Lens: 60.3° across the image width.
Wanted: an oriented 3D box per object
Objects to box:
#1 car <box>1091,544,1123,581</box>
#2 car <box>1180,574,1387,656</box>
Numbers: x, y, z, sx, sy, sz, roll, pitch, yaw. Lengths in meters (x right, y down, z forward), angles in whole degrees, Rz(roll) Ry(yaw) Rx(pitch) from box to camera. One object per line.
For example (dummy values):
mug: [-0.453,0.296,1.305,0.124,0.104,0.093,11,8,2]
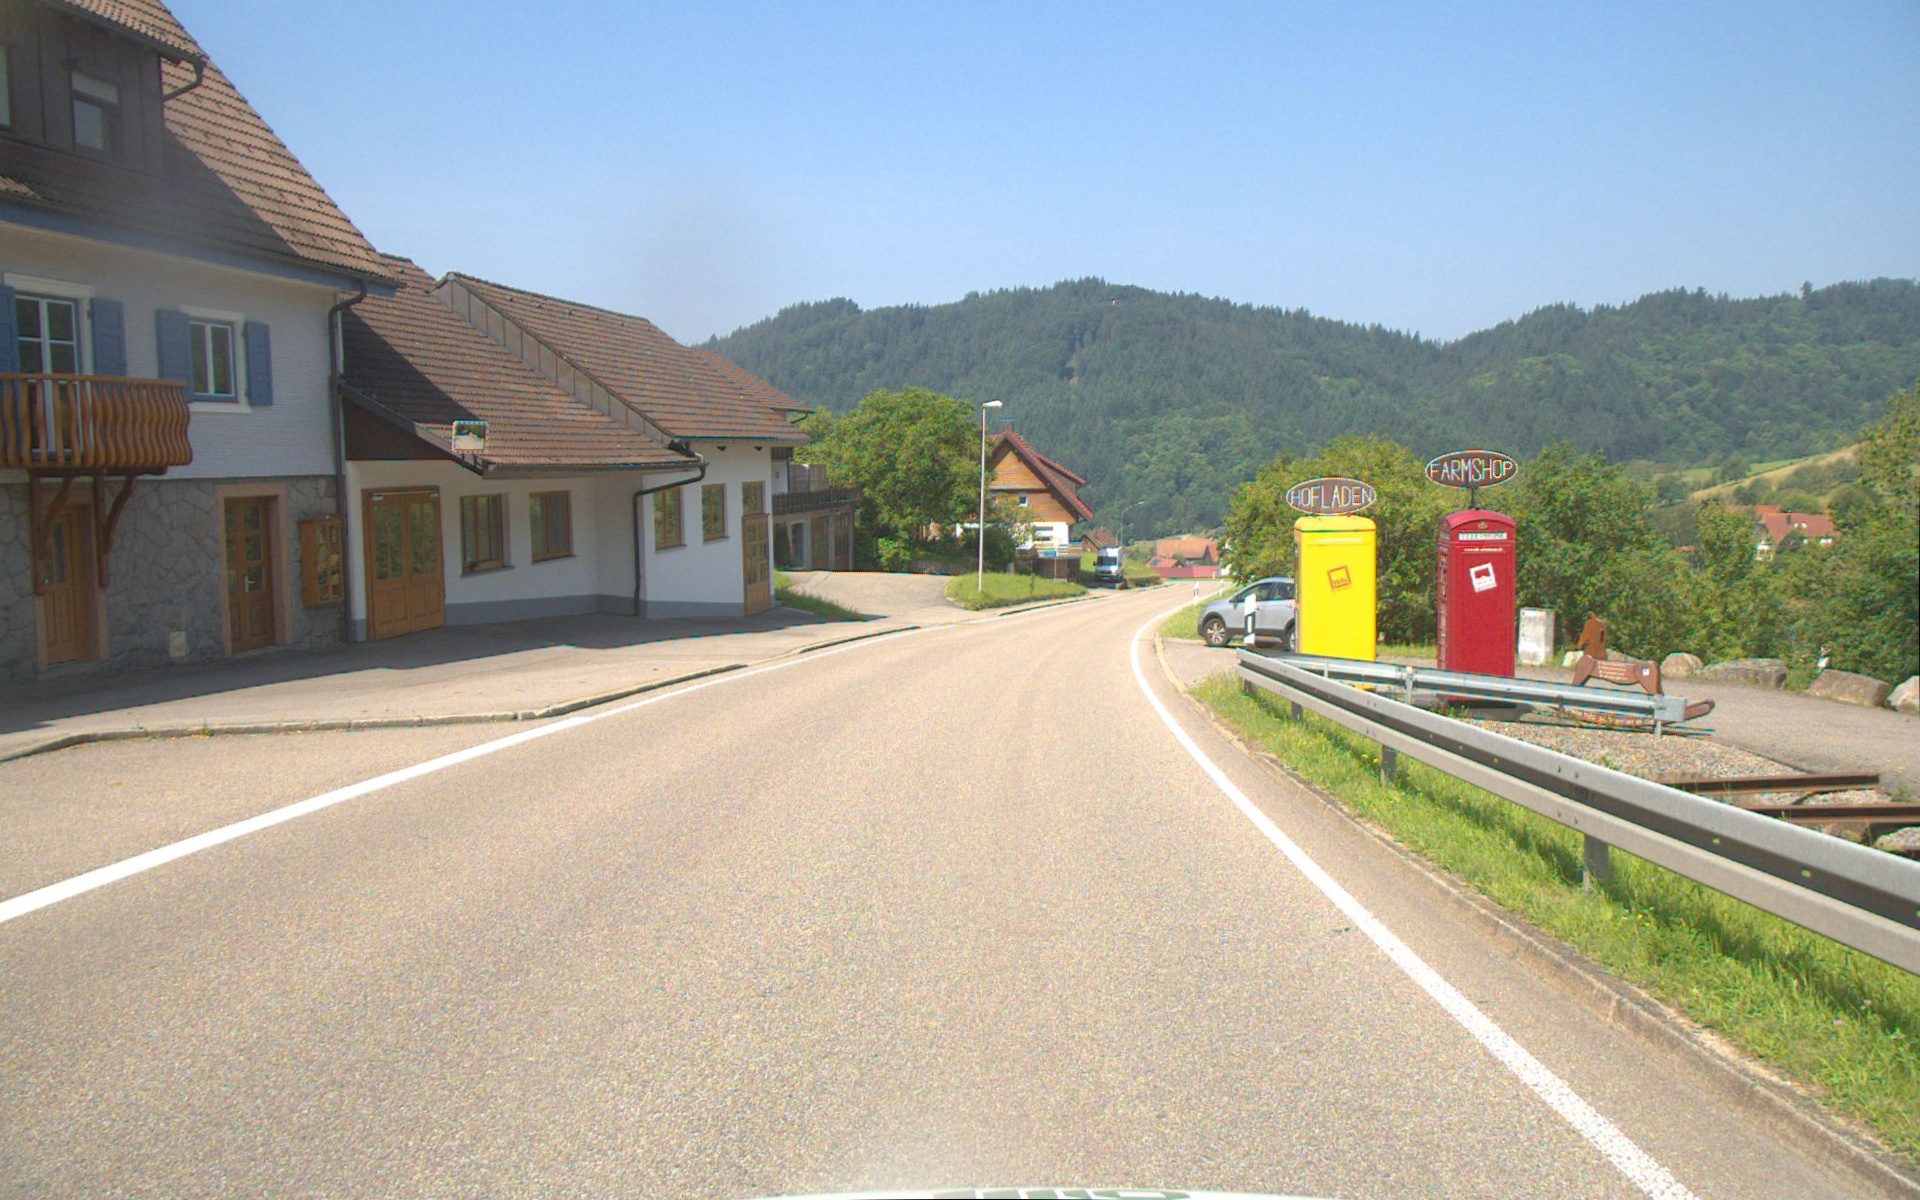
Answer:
car: [12.299,-3.164,137.669,2.023,2.734,7.184,0,4,10]
car: [6.993,0.274,36.122,1.883,1.598,4.410,0,2,-34]
